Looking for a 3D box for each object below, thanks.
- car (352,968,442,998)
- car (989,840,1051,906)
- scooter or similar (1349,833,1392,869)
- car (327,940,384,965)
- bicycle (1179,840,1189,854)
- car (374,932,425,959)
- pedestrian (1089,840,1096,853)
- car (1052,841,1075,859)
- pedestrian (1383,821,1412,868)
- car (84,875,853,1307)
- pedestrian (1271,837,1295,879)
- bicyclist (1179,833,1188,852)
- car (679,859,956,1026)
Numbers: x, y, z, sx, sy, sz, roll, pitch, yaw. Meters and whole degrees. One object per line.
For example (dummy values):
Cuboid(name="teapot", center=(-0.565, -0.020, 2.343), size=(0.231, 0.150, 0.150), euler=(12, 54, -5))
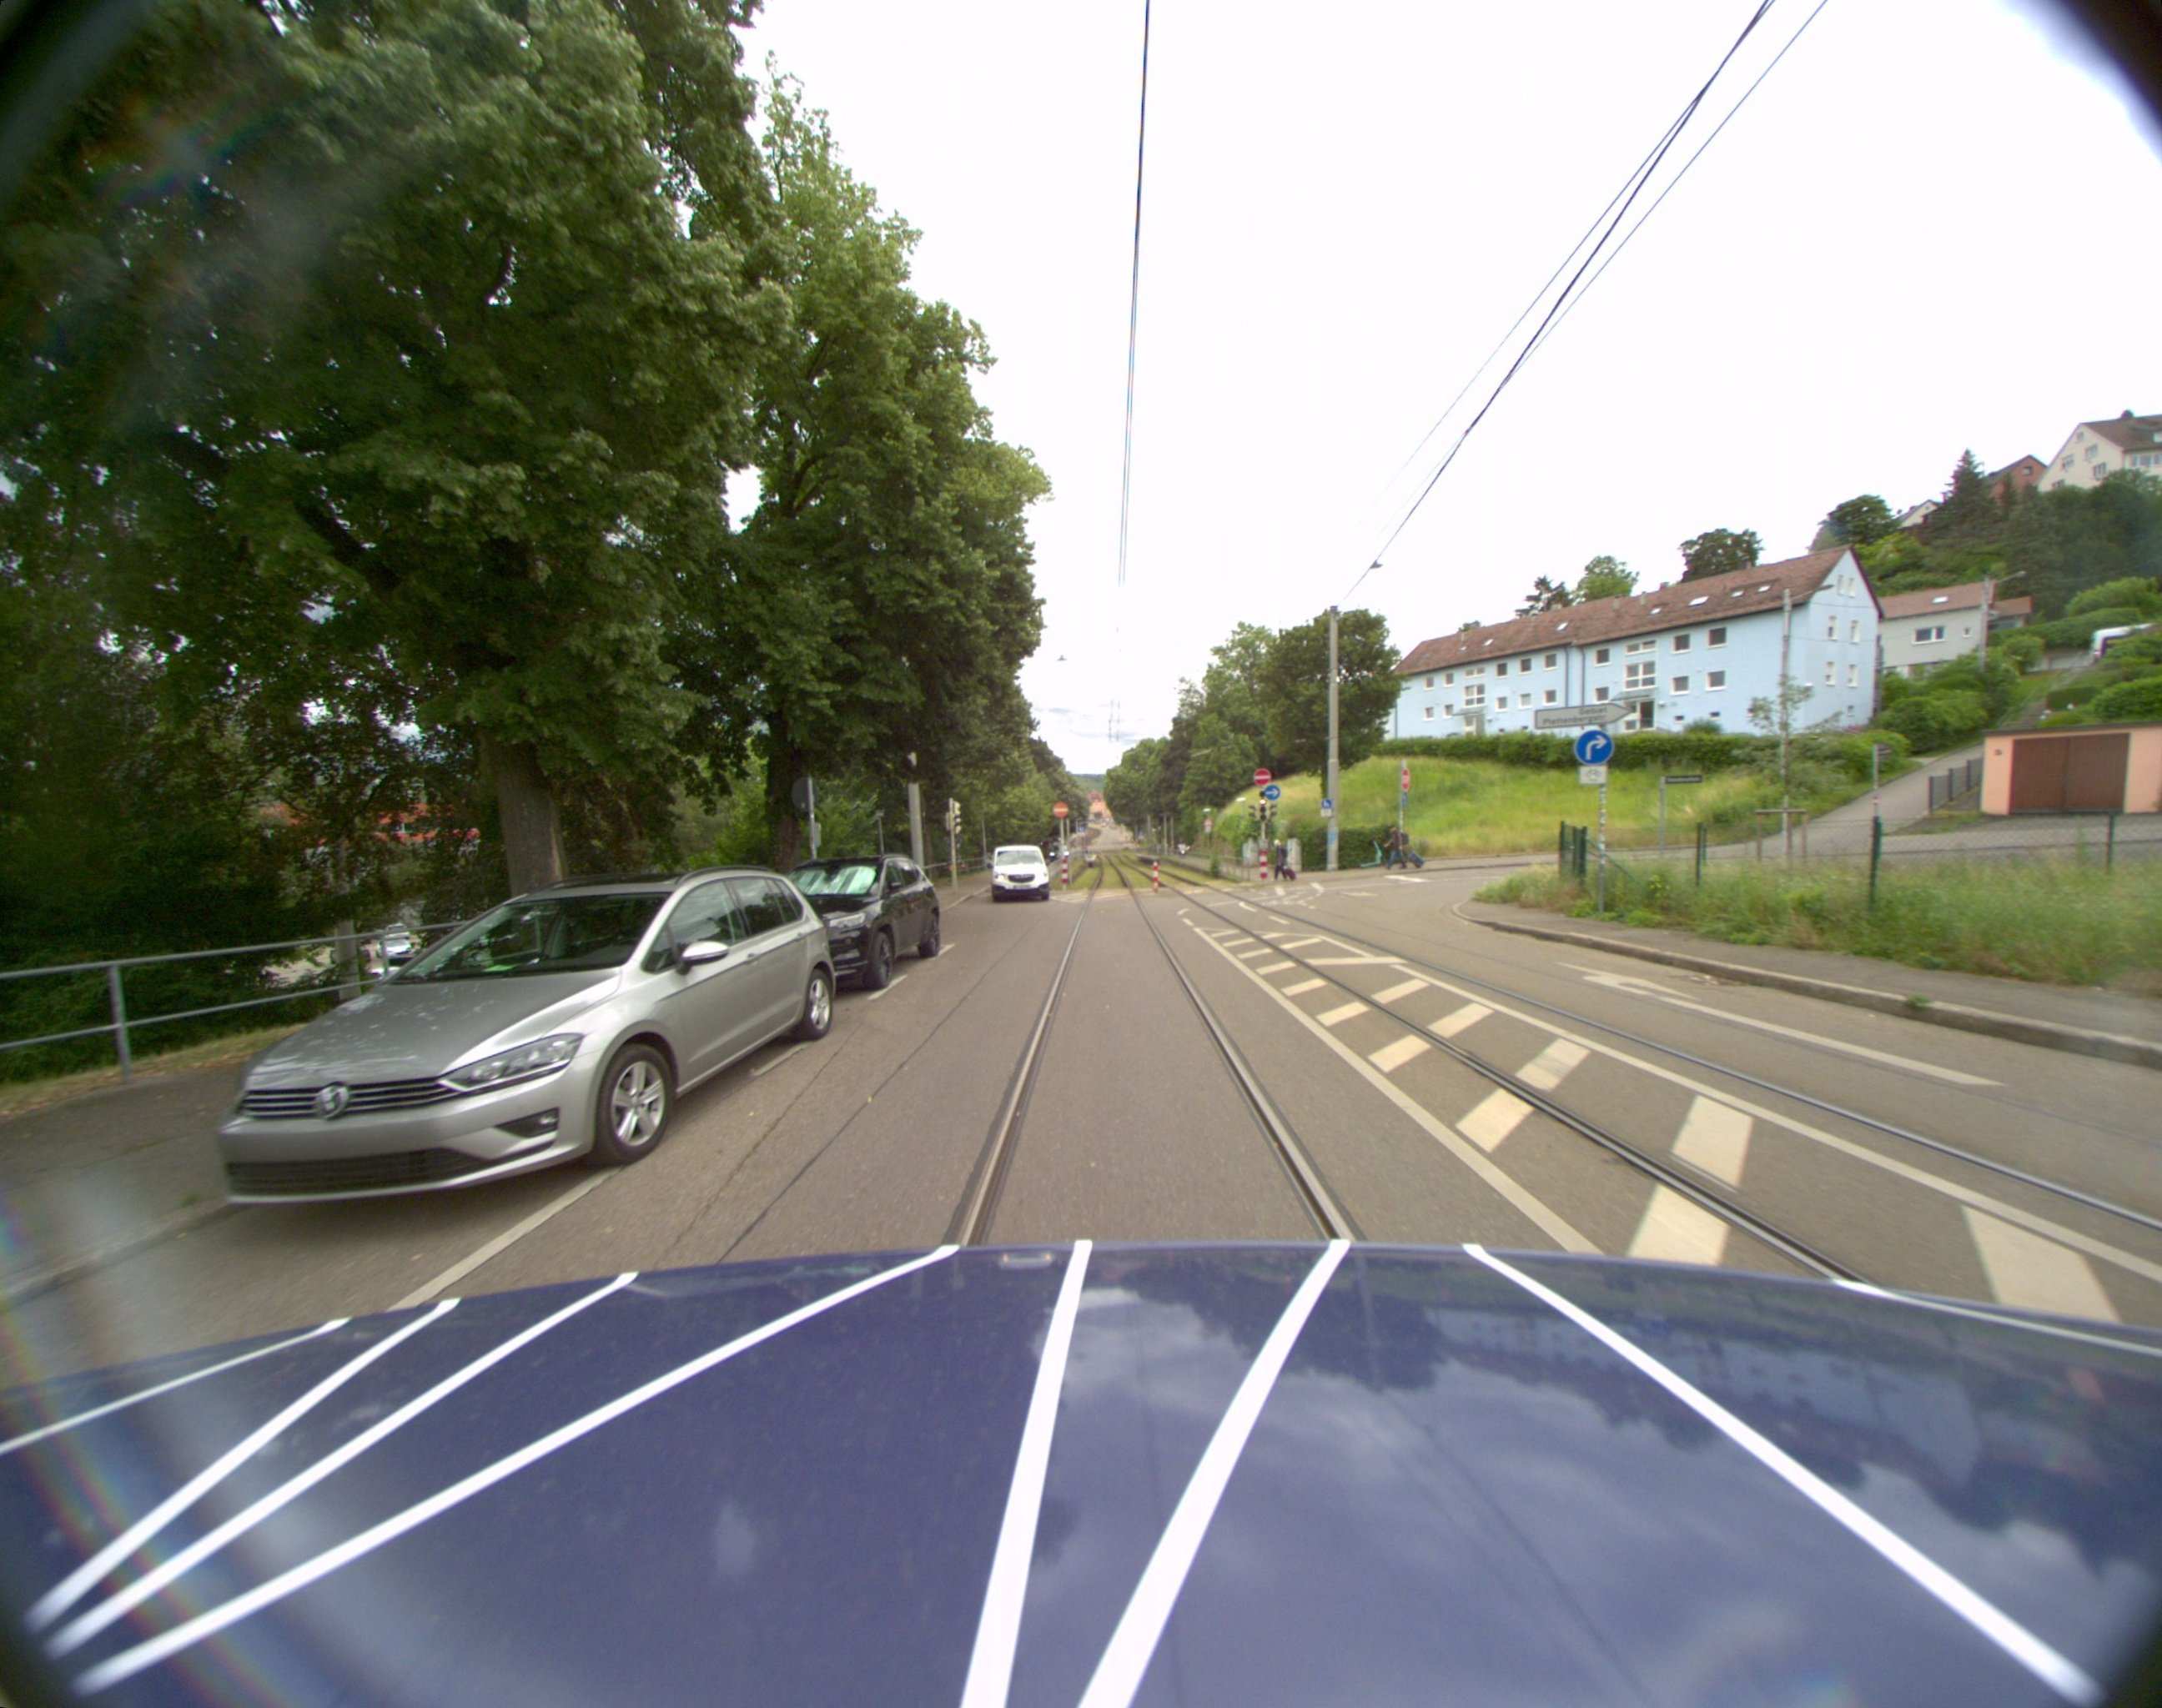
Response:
Cuboid(name="car", center=(-42.919, 8.072, 47.689), size=(4.336, 1.497, 1.827), euler=(-2, 2, 10))
Cuboid(name="car", center=(-2.052, 0.546, 25.699), size=(1.811, 1.910, 4.475), euler=(-3, 2, -5))
Cuboid(name="scooter or similar", center=(11.564, -0.136, 30.367), size=(1.412, 1.282, 0.418), euler=(-6, 2, 2))
Cuboid(name="car", center=(-56.516, 7.640, 59.190), size=(4.331, 1.460, 2.003), euler=(-2, 2, 31))
Cuboid(name="bicycle", center=(9.261, -0.644, 68.544), size=(0.752, 1.233, 2.867), euler=(-3, 0, 5))
Cuboid(name="car", center=(-54.933, 7.353, 61.213), size=(4.331, 1.707, 2.003), euler=(-1, 2, 35))
Cuboid(name="pedestrian", center=(1.402, -0.907, 93.545), size=(0.739, 1.493, 0.627), euler=(-3, 0, 3))
Cuboid(name="car", center=(-1.665, -0.432, 72.154), size=(1.998, 1.543, 3.999), euler=(-3, 2, 0))
Cuboid(name="pedestrian", center=(12.095, -0.371, 29.039), size=(0.900, 1.741, 0.743), euler=(-2, 2, 15))
Cuboid(name="car", center=(-3.225, 1.066, 5.371), size=(1.738, 1.566, 4.364), euler=(-3, 1, 2))
Cuboid(name="pedestrian", center=(7.776, 0.142, 29.230), size=(0.752, 1.565, 0.757), euler=(-2, 2, 9))
Cuboid(name="bicyclist", center=(9.274, -1.031, 68.936), size=(0.706, 1.619, 1.033), euler=(-3, 0, 5))
Cuboid(name="car", center=(-3.218, 0.971, 10.455), size=(1.908, 1.606, 4.600), euler=(-3, 1, 3))
